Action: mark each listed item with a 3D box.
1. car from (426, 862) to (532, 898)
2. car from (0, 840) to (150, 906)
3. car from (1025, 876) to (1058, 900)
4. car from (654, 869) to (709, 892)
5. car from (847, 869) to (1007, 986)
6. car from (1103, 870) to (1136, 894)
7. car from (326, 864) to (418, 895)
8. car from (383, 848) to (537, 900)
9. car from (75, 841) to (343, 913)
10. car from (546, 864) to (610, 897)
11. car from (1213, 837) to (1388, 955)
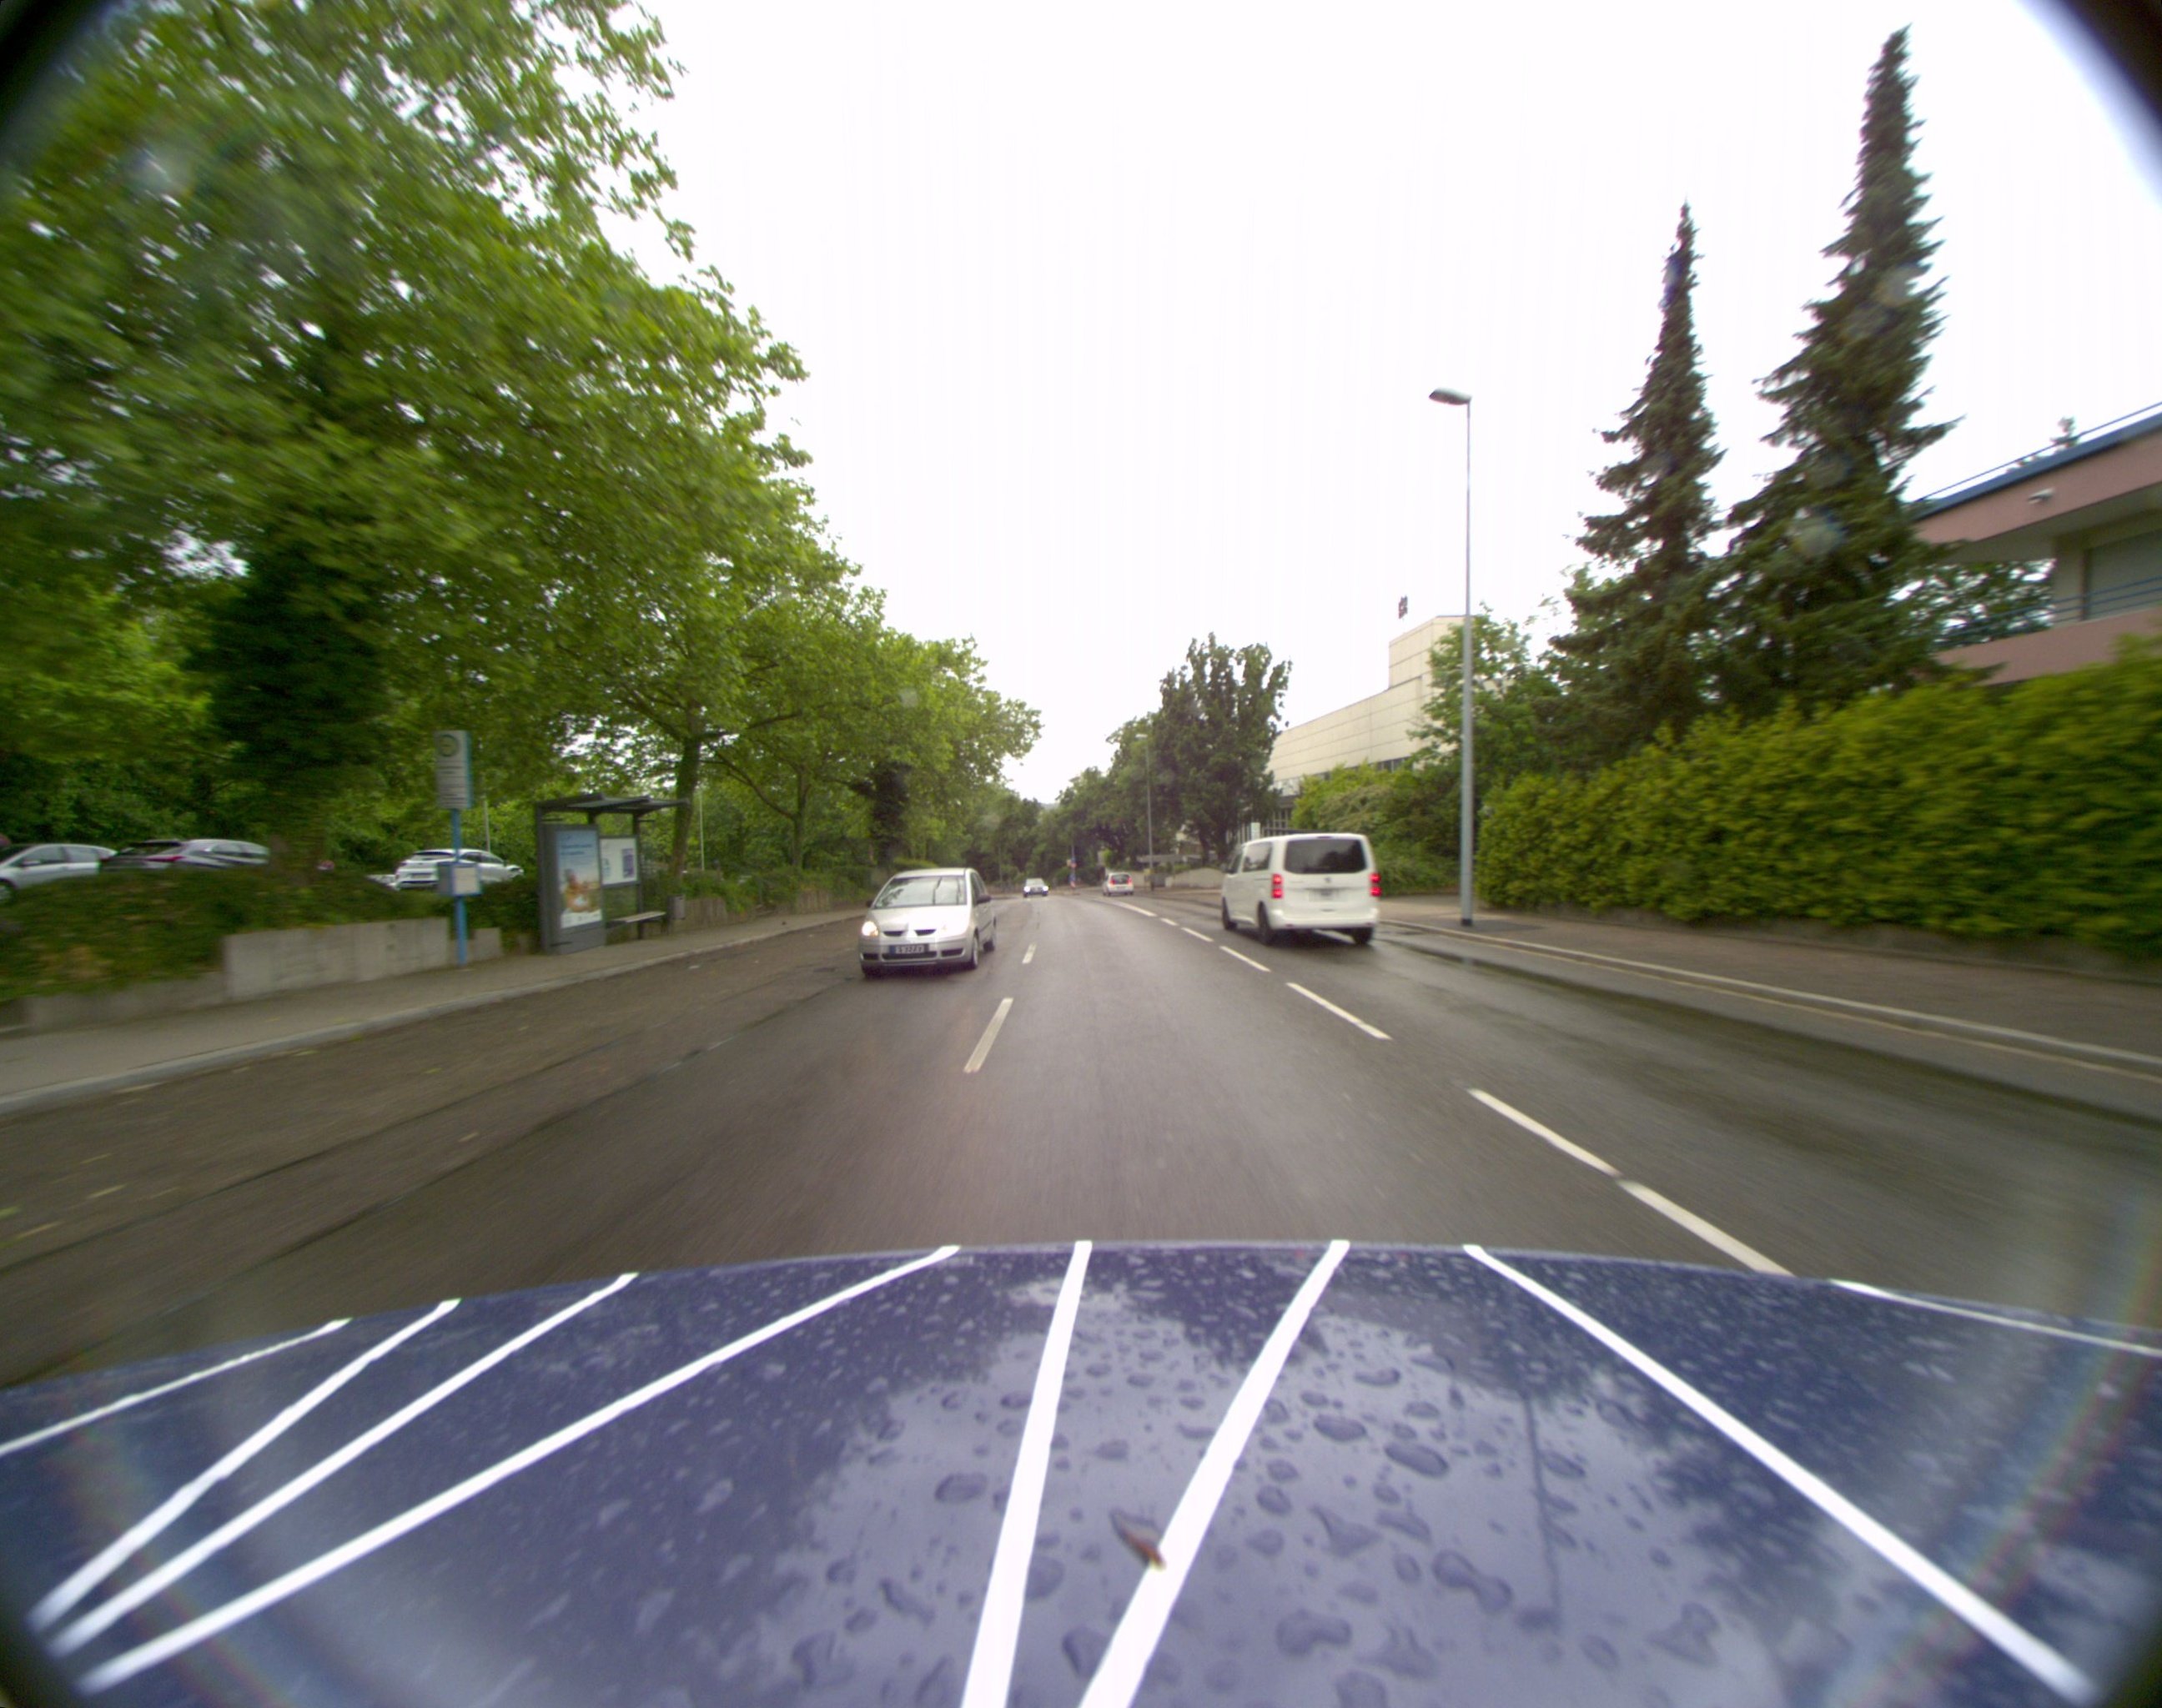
[{"bbox_3d":[-28.153,1.233,35.720,1.900,1.444,4.171,-4,-2,-6],"label":"car"},{"bbox_3d":[-26.129,0.496,18.486,1.900,1.444,4.171,-4,-2,-4],"label":"car"},{"bbox_3d":[-3.075,2.659,60.161,2.035,1.690,4.002,-4,-2,3],"label":"car"},{"bbox_3d":[-27.969,1.861,53.311,1.900,1.444,4.171,-4,-2,-6],"label":"car"},{"bbox_3d":[-2.323,1.054,12.479,1.640,1.496,4.000,-2,0,2],"label":"car"},{"bbox_3d":[2.449,1.778,49.053,1.690,1.445,3.398,-2,-1,-3],"label":"car"},{"bbox_3d":[-38.141,1.381,40.977,1.707,1.513,3.628,-4,-2,-5],"label":"car"},{"bbox_3d":[-20.400,0.698,25.218,1.900,1.444,4.171,-4,-2,-6],"label":"car"},{"bbox_3d":[-21.149,0.573,18.755,1.900,1.444,4.171,-4,-2,-4],"label":"car"},{"bbox_3d":[-34.258,1.812,51.913,1.707,2.001,4.354,-4,-2,-5],"label":"car"},{"bbox_3d":[3.998,0.692,14.836,1.868,1.905,5.029,0,0,-1],"label":"car"}]
